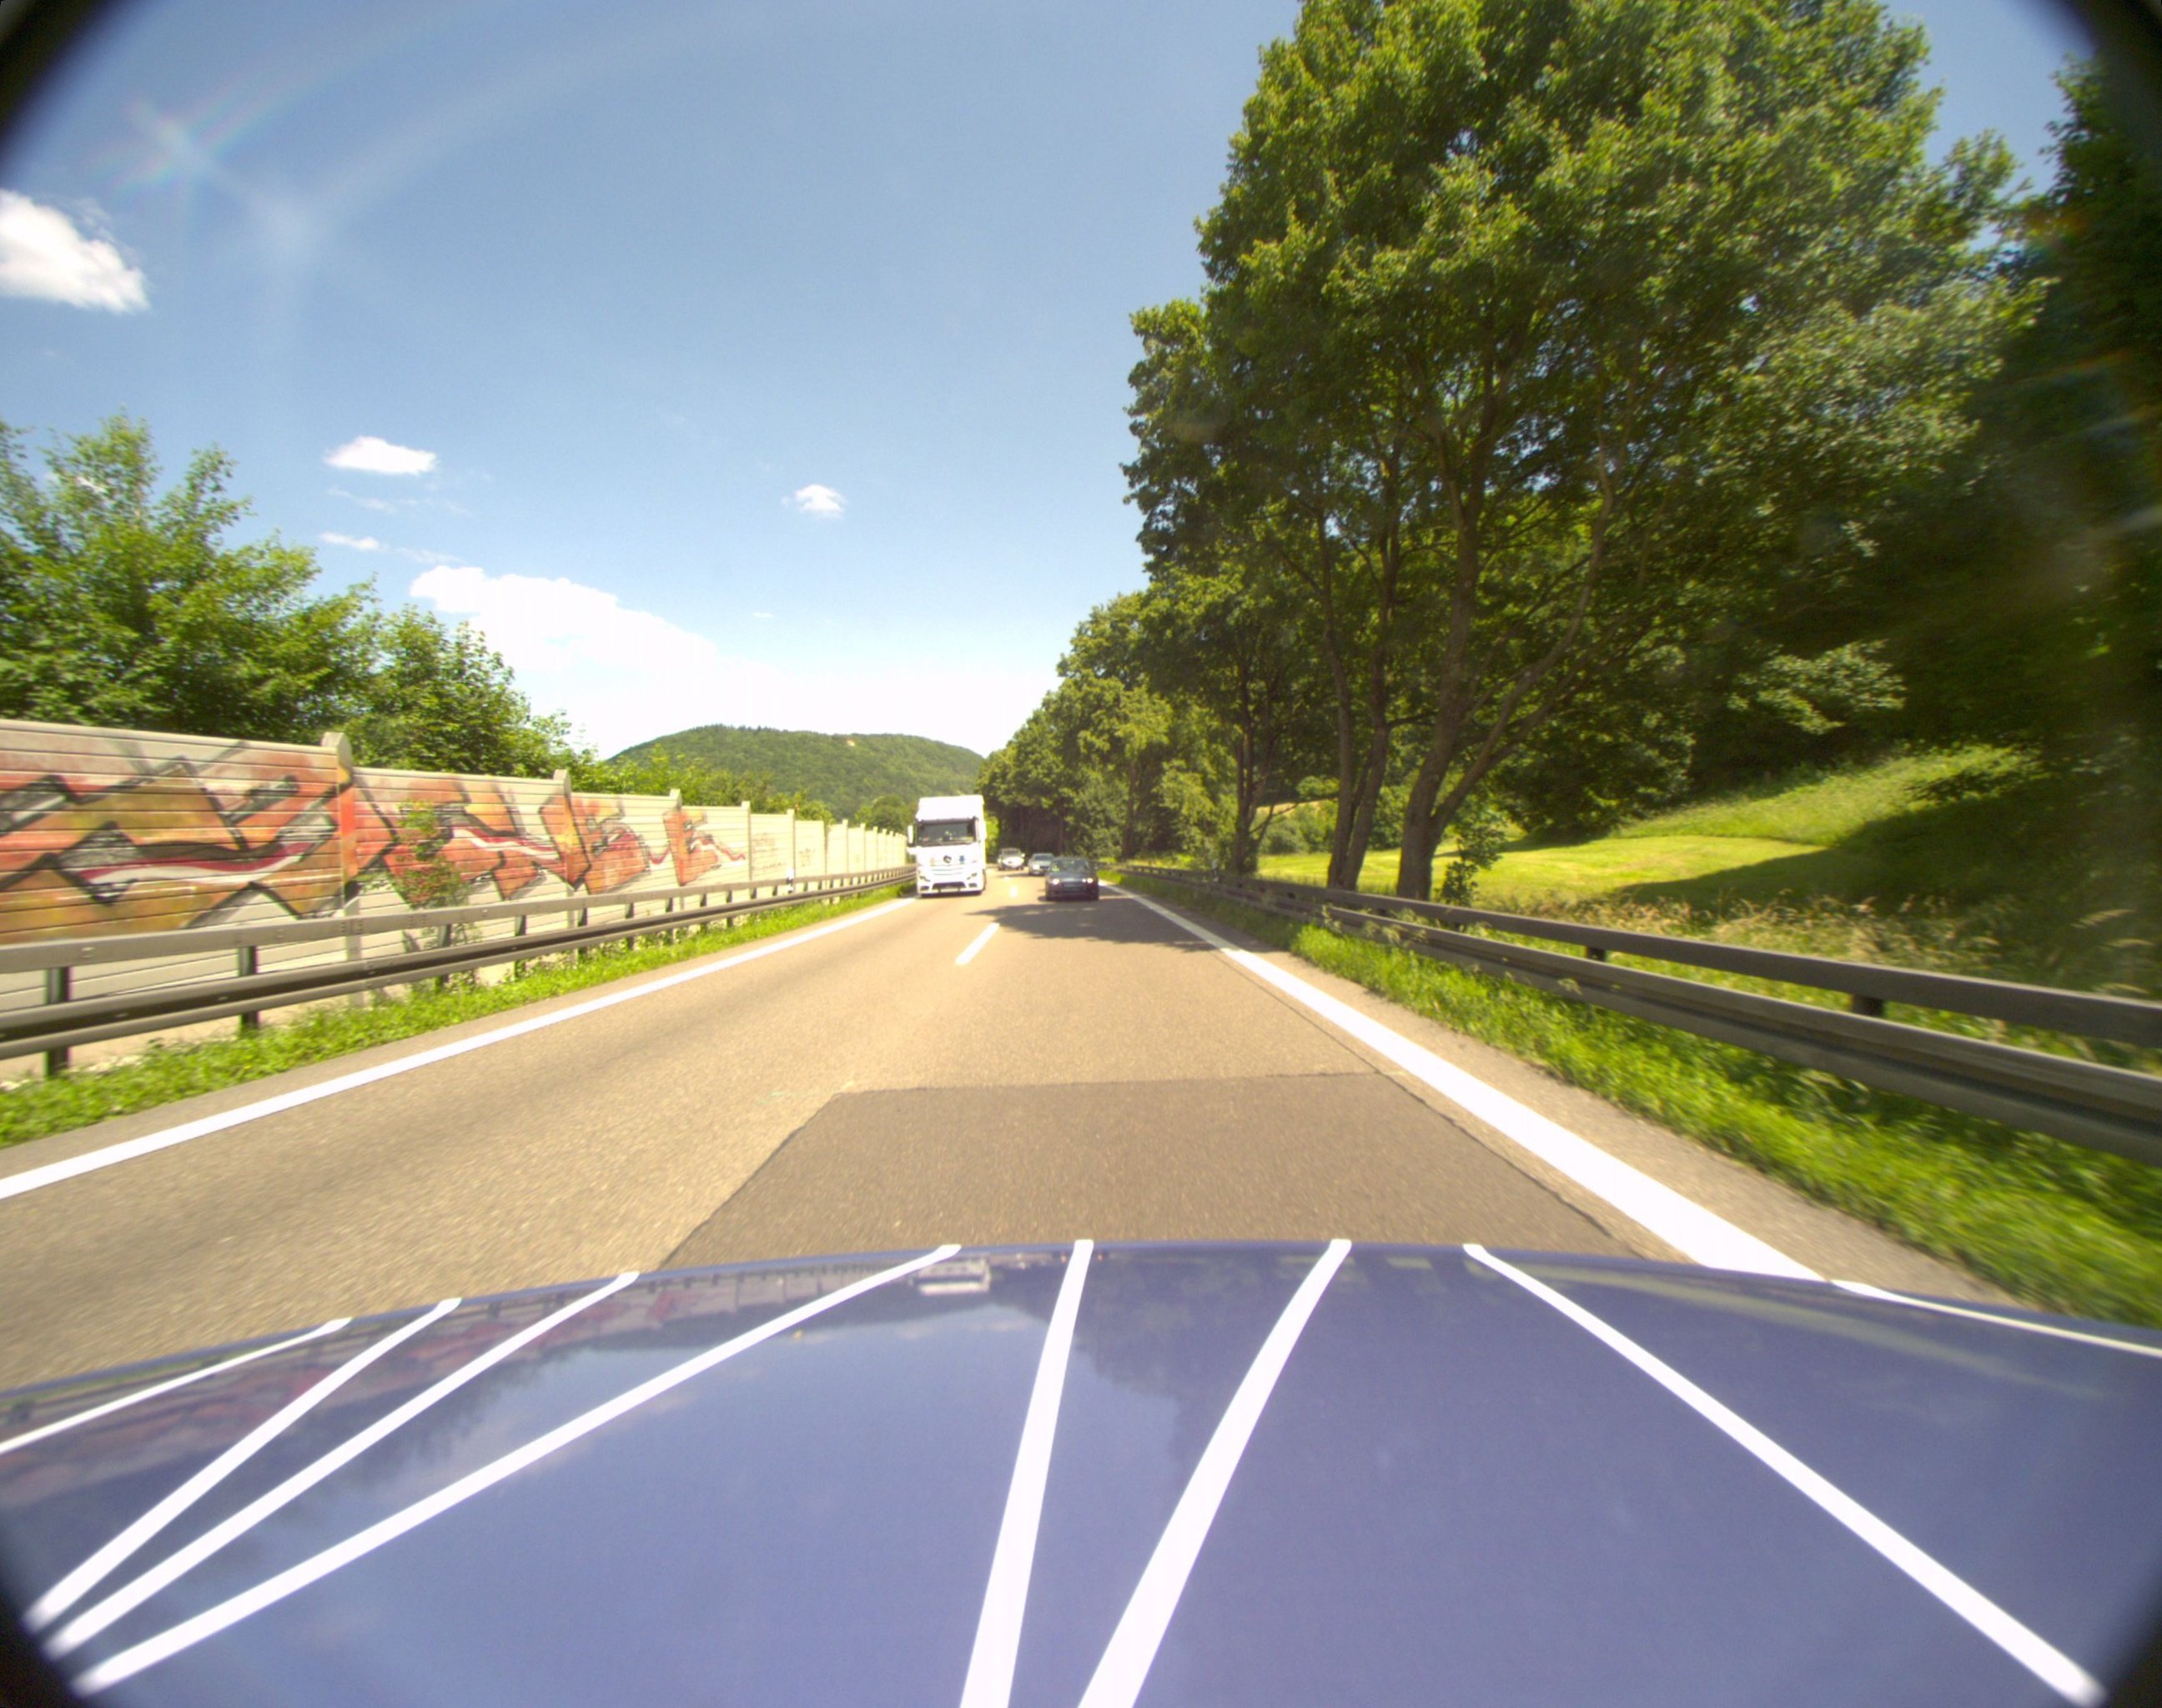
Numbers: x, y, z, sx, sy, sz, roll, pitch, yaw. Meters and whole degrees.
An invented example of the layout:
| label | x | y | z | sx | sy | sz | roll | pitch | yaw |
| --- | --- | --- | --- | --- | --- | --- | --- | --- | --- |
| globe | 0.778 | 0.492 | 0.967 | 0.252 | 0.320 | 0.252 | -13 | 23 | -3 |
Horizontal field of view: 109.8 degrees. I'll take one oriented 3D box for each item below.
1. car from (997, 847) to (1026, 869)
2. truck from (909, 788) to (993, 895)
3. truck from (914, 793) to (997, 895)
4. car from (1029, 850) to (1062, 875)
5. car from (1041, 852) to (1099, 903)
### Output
| label | x | y | z | sx | sy | sz | roll | pitch | yaw |
| --- | --- | --- | --- | --- | --- | --- | --- | --- | --- |
| car | -6.145 | 0.360 | 66.981 | 2.045 | 1.855 | 3.996 | -1 | 0 | -11 |
| truck | -5.352 | -0.502 | 32.331 | 2.765 | 4.015 | 6.820 | -2 | 0 | -4 |
| truck | -5.832 | -0.489 | 37.338 | 2.862 | 4.124 | 12.040 | -2 | 1 | -4 |
| car | -2.387 | 0.522 | 50.341 | 1.716 | 1.541 | 3.996 | 0 | 1 | -9 |
| car | -0.310 | 0.730 | 25.345 | 1.662 | 1.436 | 3.475 | -3 | 1 | 2 |
